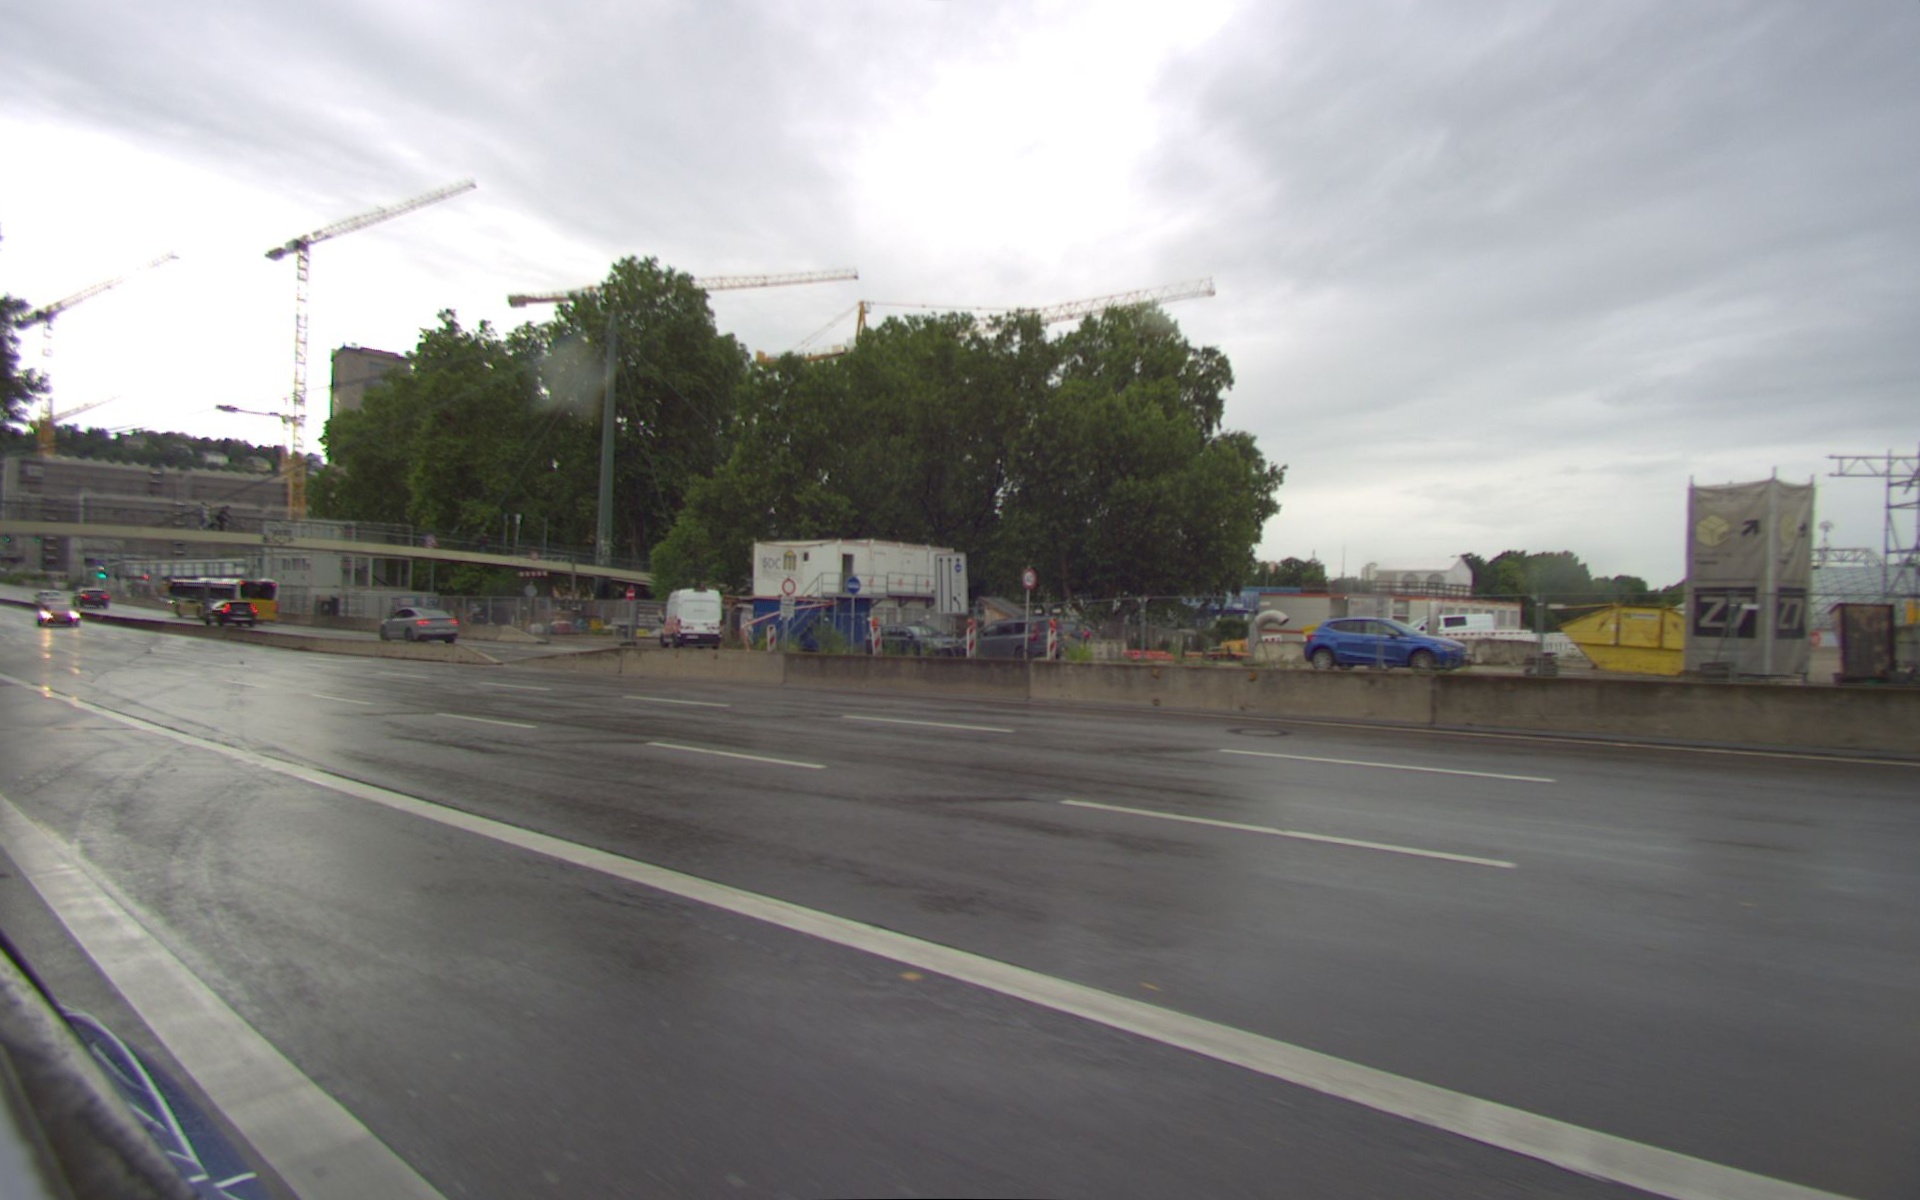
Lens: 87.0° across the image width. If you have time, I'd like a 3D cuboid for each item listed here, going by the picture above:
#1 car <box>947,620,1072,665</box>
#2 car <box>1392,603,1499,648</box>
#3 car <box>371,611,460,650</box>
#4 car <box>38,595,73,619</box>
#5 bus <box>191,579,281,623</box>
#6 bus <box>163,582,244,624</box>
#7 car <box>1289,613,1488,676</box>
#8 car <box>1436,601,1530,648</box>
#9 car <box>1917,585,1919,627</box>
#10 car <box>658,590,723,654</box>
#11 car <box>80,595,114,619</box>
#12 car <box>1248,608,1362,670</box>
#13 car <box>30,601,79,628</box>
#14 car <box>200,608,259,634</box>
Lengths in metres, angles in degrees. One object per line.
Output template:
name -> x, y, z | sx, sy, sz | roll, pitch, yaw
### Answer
car -> 1.692, 1.484, 36.018 | 1.814, 1.501, 4.444 | 2, -2, -43
car -> 26.689, 1.392, 55.765 | 4.886, 2.402, 1.997 | 0, -2, 4
car -> -23.519, 1.317, 43.673 | 4.435, 1.588, 1.817 | -1, -2, 40
car -> -78.667, 0.611, 87.979 | 4.001, 2.029, 1.971 | -1, -2, 44
bus -> -51.891, 0.112, 72.421 | 8.949, 2.963, 3.228 | -1, 0, 41
bus -> -58.634, 0.231, 78.370 | 8.949, 3.079, 3.196 | -1, 0, 41
car -> 11.114, 1.118, 26.444 | 1.814, 1.501, 4.442 | 2, -2, -45
car -> 27.275, 1.271, 52.918 | 3.961, 2.402, 1.991 | 0, -2, 14
car -> 56.596, 0.346, 56.909 | 3.933, 2.402, 2.179 | 1, -2, -14
car -> -12.390, 1.011, 46.307 | 2.044, 2.759, 4.608 | 1, -2, -26
car -> -77.246, 0.652, 90.558 | 4.001, 2.029, 1.971 | -1, -2, 44
car -> 14.038, 1.554, 41.269 | 3.998, 2.402, 1.973 | -1, -2, 41
car -> -54.779, 0.879, 61.229 | 3.997, 1.564, 1.668 | -1, -2, 40
car -> -44.760, 1.294, 61.987 | 4.435, 1.588, 1.817 | -1, -2, 40
